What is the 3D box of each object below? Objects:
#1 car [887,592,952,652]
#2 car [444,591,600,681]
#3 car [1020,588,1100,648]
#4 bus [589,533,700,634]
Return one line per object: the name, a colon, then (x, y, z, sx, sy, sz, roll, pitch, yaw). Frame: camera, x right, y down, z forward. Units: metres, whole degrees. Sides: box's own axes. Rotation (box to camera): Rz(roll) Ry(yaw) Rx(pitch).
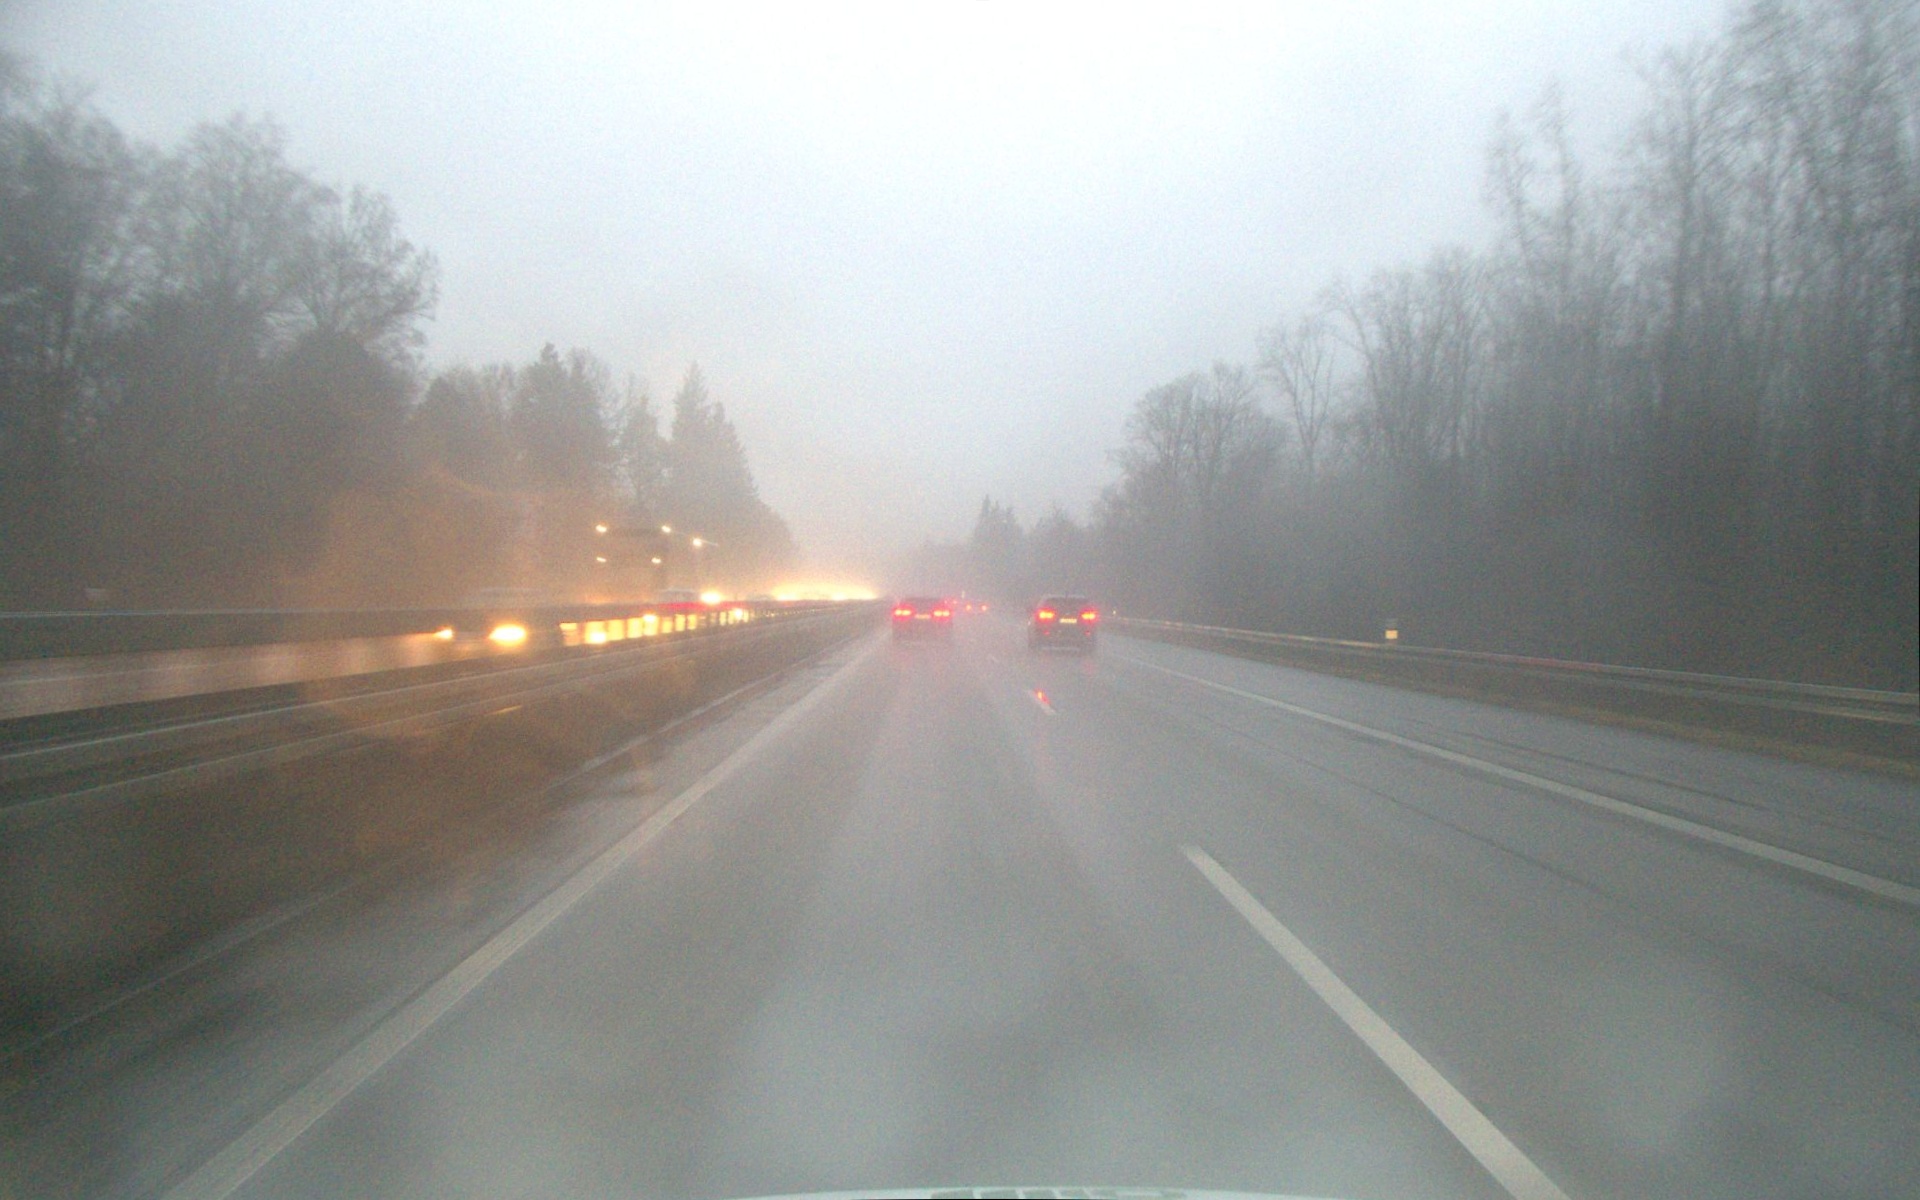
car: (-1.251, 0.661, 51.826, 1.946, 1.798, 4.172, 0, 0, -1)
car: (-8.187, 0.638, 31.309, 1.762, 1.561, 4.270, 1, 0, 0)
car: (2.995, 0.533, 50.566, 2.028, 1.727, 4.459, 1, 0, -2)
bus: (-12.204, -0.598, 64.760, 2.671, 3.617, 9.086, 1, 0, -1)
